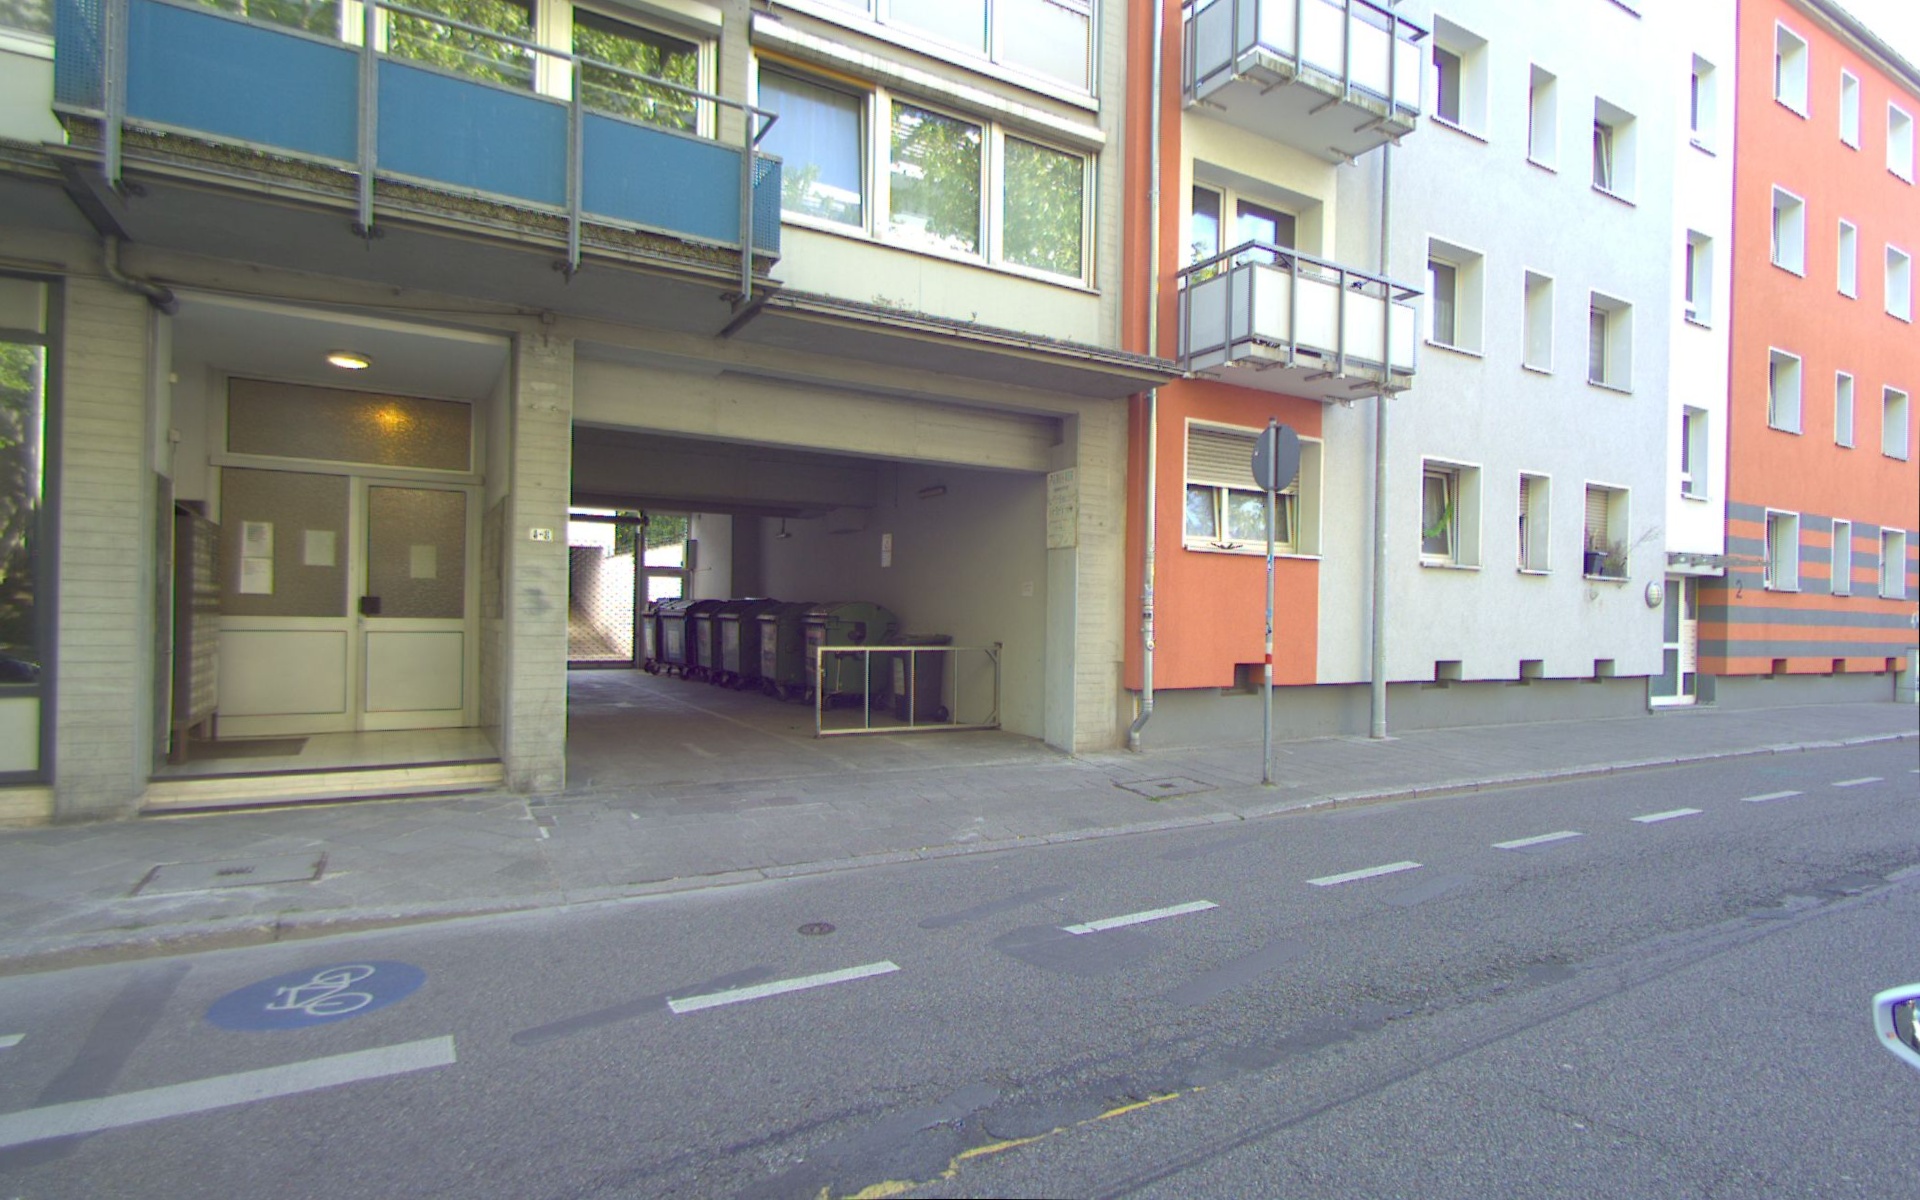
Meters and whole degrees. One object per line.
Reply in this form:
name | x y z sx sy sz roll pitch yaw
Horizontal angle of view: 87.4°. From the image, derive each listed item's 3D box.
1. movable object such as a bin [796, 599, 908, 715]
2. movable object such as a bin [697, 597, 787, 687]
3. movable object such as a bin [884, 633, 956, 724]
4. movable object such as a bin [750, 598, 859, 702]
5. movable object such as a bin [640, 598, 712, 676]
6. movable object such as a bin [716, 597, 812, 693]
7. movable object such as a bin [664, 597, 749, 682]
movable object such as a bin | -1.503 0.754 13.822 1.128 1.484 1.255 2 0 -28
movable object such as a bin | -3.869 0.725 17.760 1.264 1.515 1.155 2 0 -28
movable object such as a bin | -0.504 0.959 12.469 0.694 1.061 0.567 2 0 -28
movable object such as a bin | -2.369 0.733 15.175 1.264 1.493 1.265 2 -1 -28
movable object such as a bin | -5.653 0.728 19.958 1.128 1.484 1.129 2 0 -28
movable object such as a bin | -3.266 0.724 16.711 1.264 1.506 1.155 2 0 -28
movable object such as a bin | -4.734 0.718 18.703 1.264 1.506 1.155 2 0 -28
